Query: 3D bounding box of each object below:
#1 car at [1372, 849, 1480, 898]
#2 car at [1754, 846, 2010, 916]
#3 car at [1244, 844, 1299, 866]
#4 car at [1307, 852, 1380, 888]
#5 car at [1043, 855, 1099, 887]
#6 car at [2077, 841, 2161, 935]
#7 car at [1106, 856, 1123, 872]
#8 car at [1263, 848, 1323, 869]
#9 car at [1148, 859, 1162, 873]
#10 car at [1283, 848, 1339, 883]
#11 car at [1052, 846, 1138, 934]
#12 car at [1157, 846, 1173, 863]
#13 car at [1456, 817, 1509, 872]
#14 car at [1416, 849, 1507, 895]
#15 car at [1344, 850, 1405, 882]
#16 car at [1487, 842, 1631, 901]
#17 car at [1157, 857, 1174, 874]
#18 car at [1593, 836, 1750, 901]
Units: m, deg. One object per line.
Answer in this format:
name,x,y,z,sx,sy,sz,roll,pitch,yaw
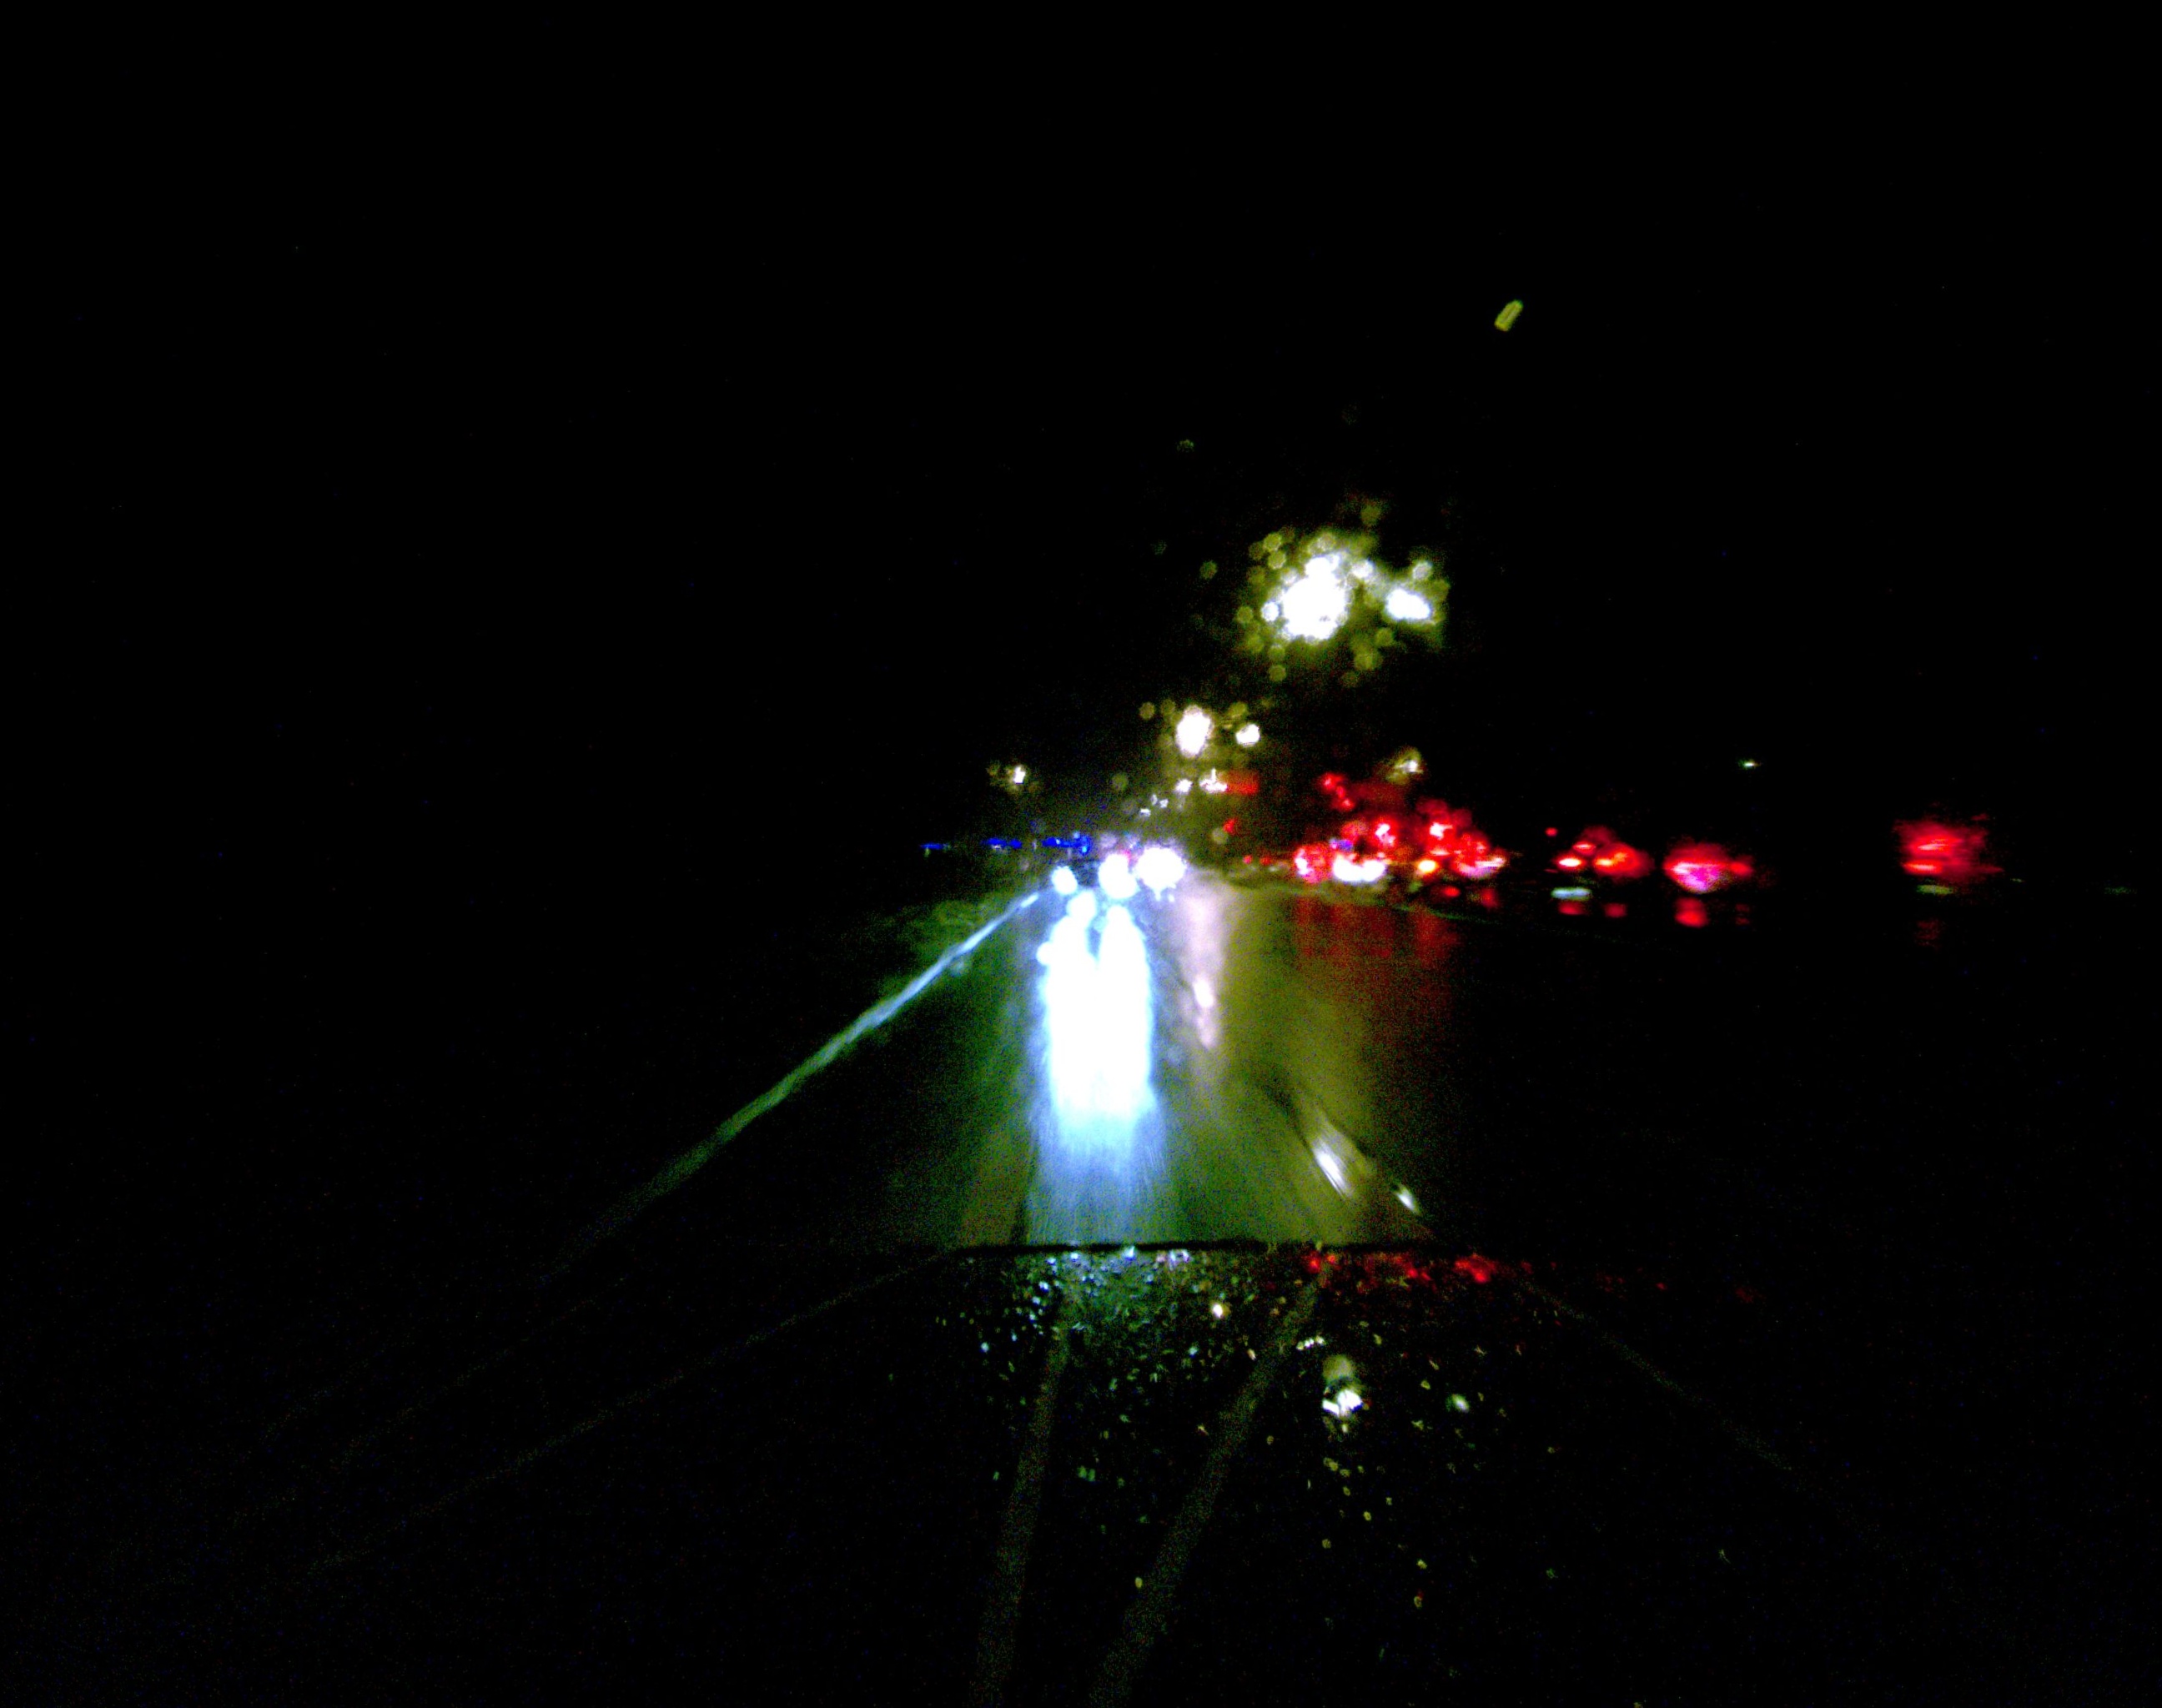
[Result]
car,12.018,0.621,26.796,1.817,1.568,4.305,0,0,-1
car,18.563,0.543,17.931,1.764,1.369,4.038,-1,2,0
car,15.806,0.116,63.245,4.125,1.696,1.849,-2,0,2
car,11.620,0.679,33.968,1.781,1.475,4.412,-2,0,1
car,-0.604,0.873,41.505,1.690,1.524,3.980,-4,2,-21
car,18.546,0.618,11.141,1.856,1.530,4.531,1,2,0
car,3.984,1.159,90.337,1.957,1.623,4.259,-2,2,3
car,16.420,0.376,59.035,4.171,1.436,1.681,-2,0,1
car,10.567,1.698,108.248,1.711,1.927,3.609,-1,2,2
car,12.081,0.566,40.170,1.764,1.715,3.901,-2,0,0
car,0.540,0.944,22.639,2.002,1.915,4.368,-7,3,6
car,10.867,0.007,98.721,1.792,2.013,4.146,-2,2,3
car,22.042,-0.526,41.791,2.251,2.693,5.619,-4,-1,27
car,15.601,0.691,31.386,1.803,1.656,3.975,-1,2,0
car,15.345,0.598,39.994,1.716,1.479,4.057,-1,2,1
car,15.087,0.475,24.309,1.803,1.656,4.486,-1,2,0
car,10.091,1.349,90.997,1.666,1.843,4.146,-2,2,3
car,18.526,0.371,24.100,1.764,1.838,4.123,-1,2,0
